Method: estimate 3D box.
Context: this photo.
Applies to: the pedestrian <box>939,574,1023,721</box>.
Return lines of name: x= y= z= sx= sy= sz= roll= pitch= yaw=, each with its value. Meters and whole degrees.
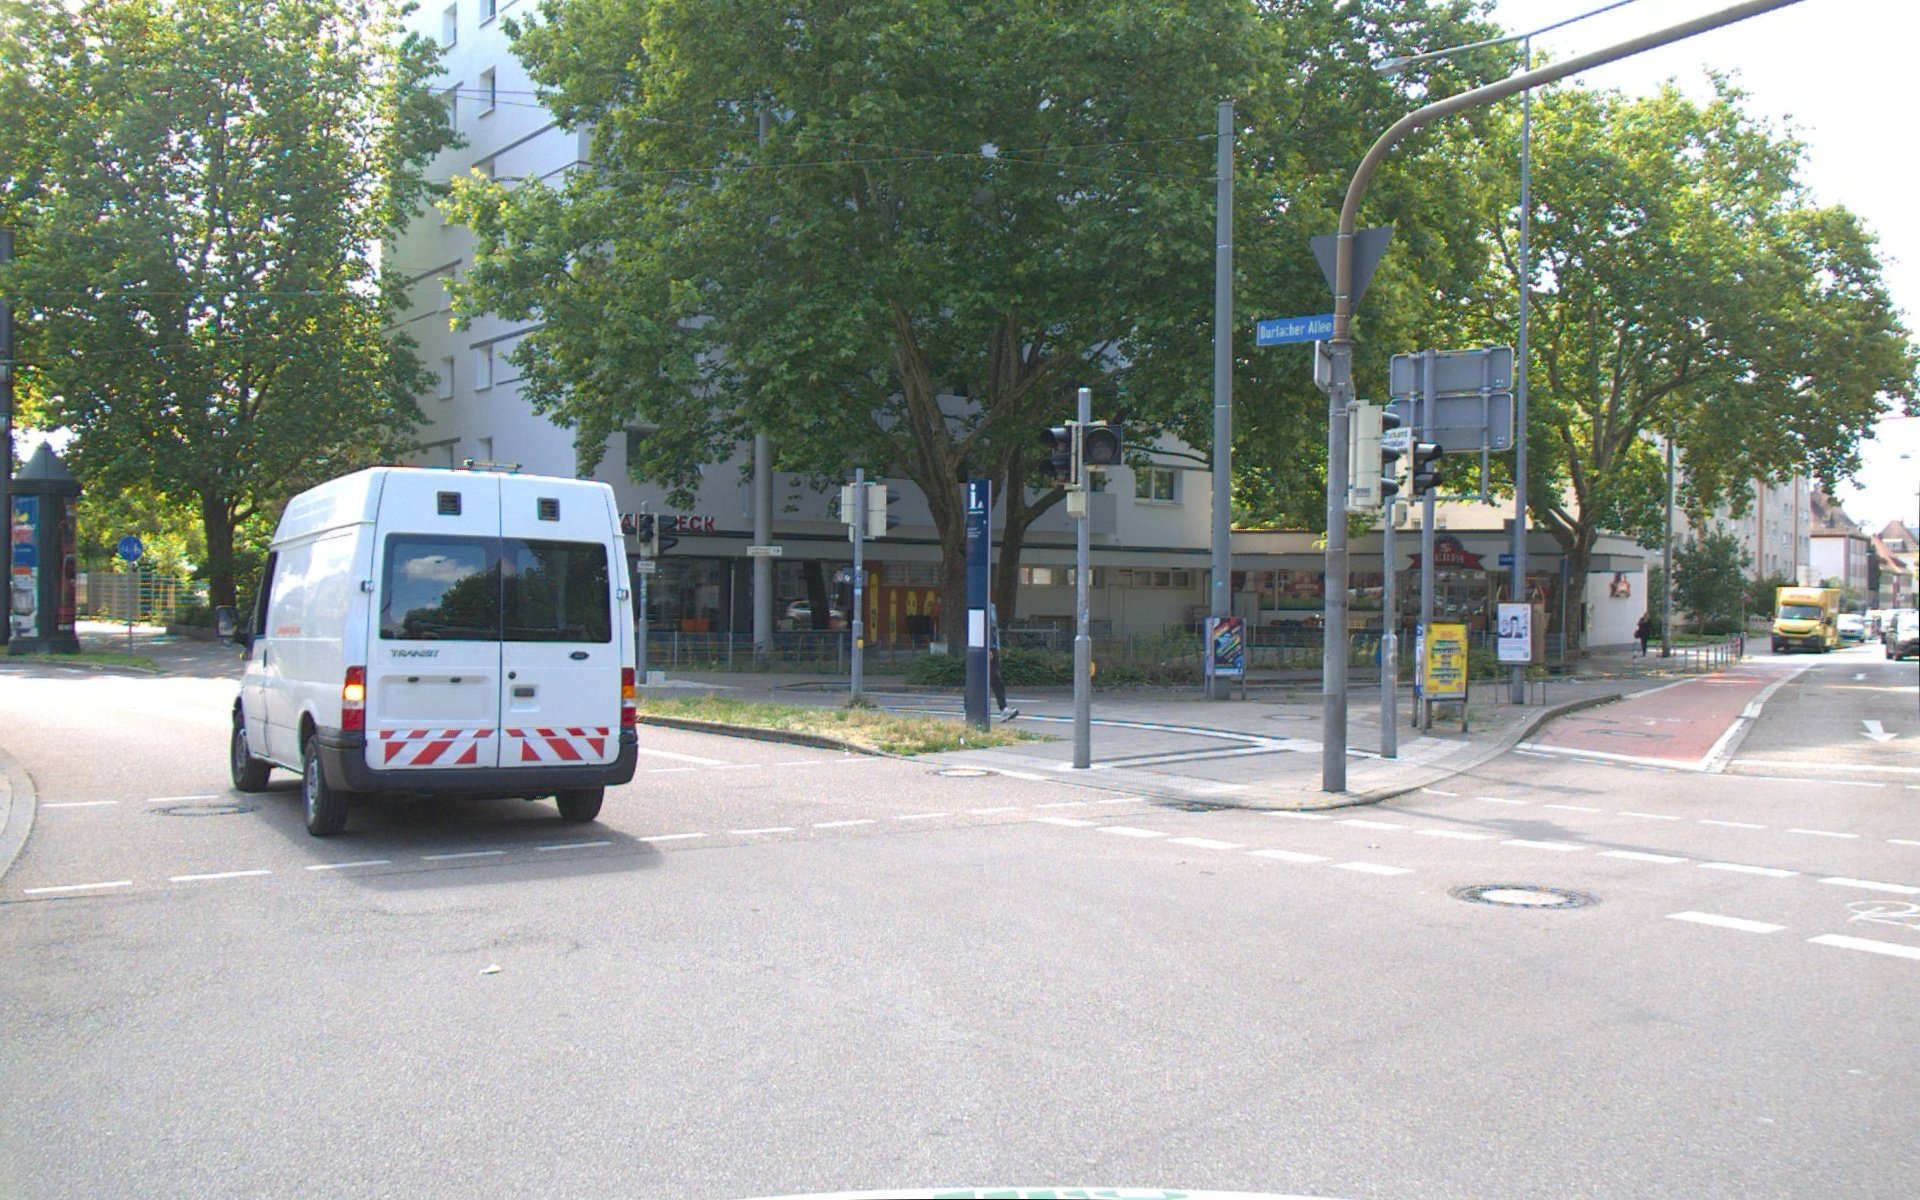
pedestrian: x=0.261 y=0.582 z=20.931 sx=0.687 sy=1.814 sz=0.876 roll=0 pitch=0 yaw=-36

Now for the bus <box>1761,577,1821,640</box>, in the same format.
bus: x=37.908 y=0.363 z=75.574 sx=2.347 sy=2.756 sz=6.364 roll=0 pitch=0 yaw=26

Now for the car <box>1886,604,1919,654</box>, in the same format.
car: x=34.300 y=1.007 z=59.329 sx=1.752 sy=1.690 sz=4.310 roll=0 pitch=1 yaw=28

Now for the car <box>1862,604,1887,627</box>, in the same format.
car: x=72.216 y=1.200 z=130.583 sx=1.629 sy=1.690 sz=3.741 roll=0 pitch=1 yaw=31

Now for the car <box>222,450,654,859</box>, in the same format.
car: x=-4.020 y=0.284 z=12.133 sx=2.026 sy=2.373 sz=4.665 roll=0 pitch=1 yaw=-31

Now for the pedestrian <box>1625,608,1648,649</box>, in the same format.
pedestrian: x=25.145 y=1.059 z=61.445 sx=0.658 sy=1.505 sz=0.573 roll=1 pitch=0 yaw=36

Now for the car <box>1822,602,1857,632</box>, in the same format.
car: x=54.087 y=1.029 z=101.678 sx=1.697 sy=1.690 sz=3.741 roll=0 pitch=1 yaw=31

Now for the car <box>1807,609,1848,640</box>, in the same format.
car: x=46.914 y=1.310 z=89.413 sx=1.811 sy=1.589 sz=3.993 roll=0 pitch=0 yaw=30

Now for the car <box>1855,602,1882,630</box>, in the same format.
car: x=67.734 y=1.168 z=123.281 sx=1.622 sy=1.965 sz=3.741 roll=0 pitch=1 yaw=31
